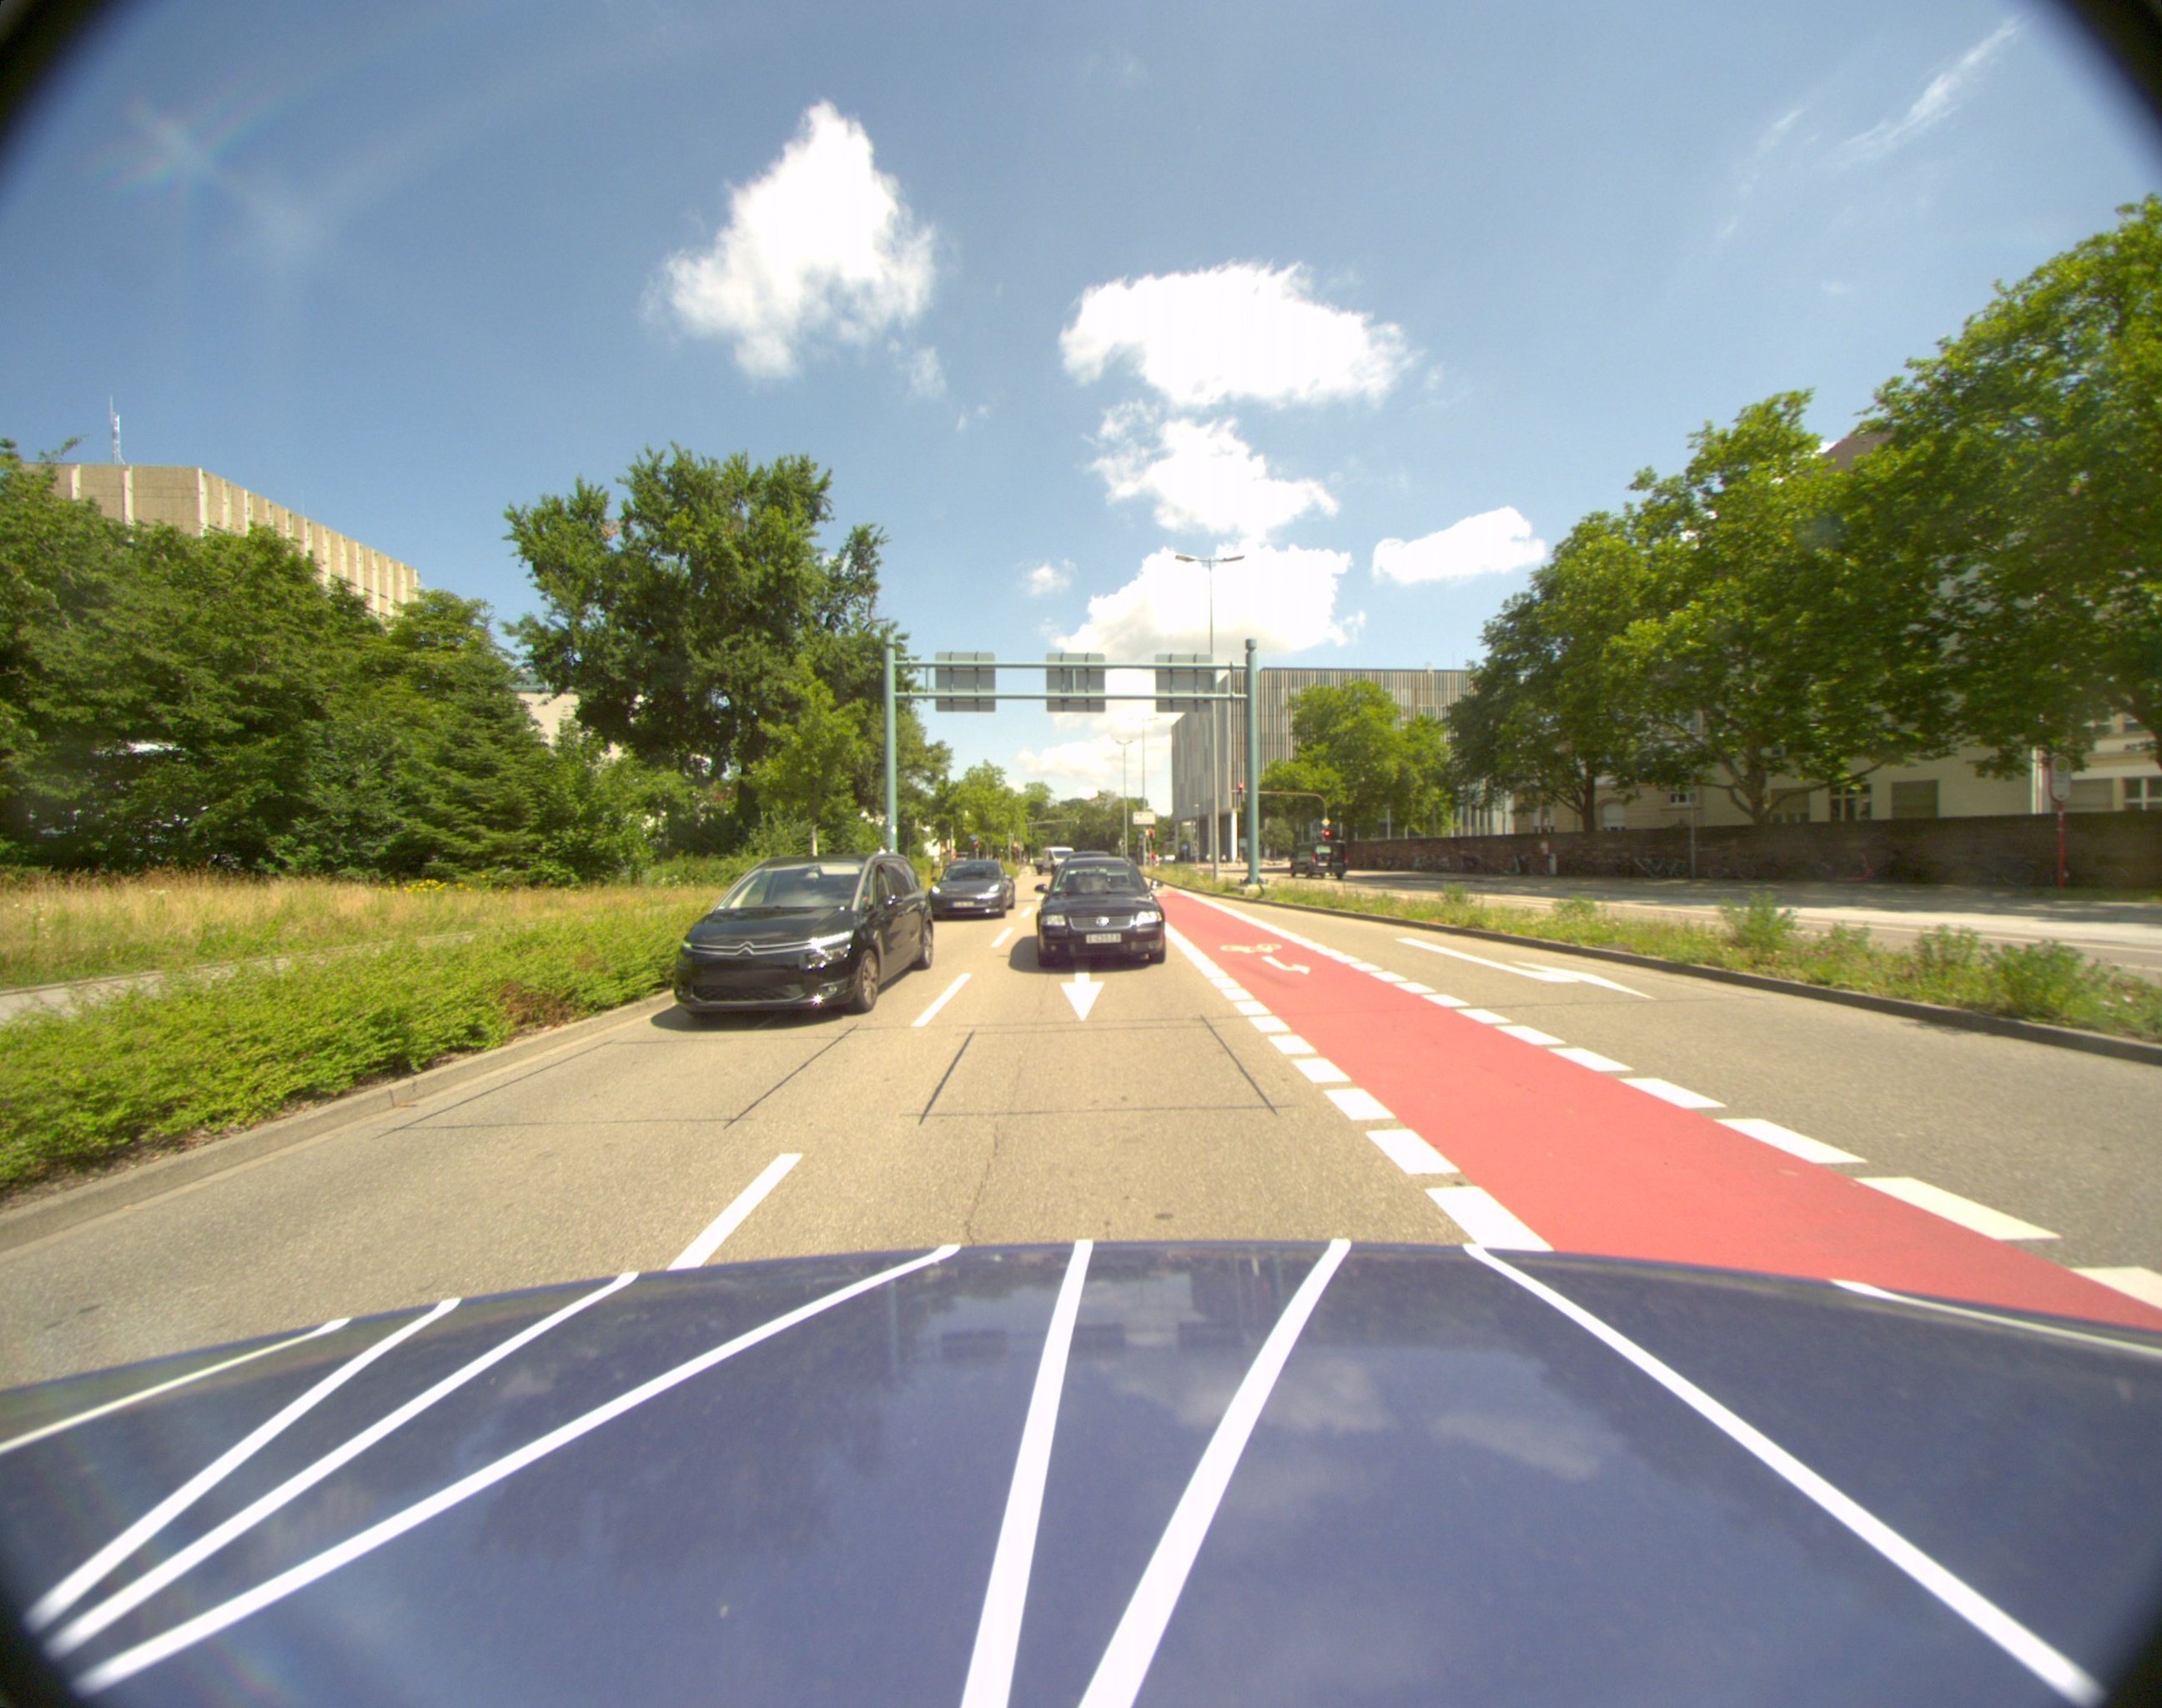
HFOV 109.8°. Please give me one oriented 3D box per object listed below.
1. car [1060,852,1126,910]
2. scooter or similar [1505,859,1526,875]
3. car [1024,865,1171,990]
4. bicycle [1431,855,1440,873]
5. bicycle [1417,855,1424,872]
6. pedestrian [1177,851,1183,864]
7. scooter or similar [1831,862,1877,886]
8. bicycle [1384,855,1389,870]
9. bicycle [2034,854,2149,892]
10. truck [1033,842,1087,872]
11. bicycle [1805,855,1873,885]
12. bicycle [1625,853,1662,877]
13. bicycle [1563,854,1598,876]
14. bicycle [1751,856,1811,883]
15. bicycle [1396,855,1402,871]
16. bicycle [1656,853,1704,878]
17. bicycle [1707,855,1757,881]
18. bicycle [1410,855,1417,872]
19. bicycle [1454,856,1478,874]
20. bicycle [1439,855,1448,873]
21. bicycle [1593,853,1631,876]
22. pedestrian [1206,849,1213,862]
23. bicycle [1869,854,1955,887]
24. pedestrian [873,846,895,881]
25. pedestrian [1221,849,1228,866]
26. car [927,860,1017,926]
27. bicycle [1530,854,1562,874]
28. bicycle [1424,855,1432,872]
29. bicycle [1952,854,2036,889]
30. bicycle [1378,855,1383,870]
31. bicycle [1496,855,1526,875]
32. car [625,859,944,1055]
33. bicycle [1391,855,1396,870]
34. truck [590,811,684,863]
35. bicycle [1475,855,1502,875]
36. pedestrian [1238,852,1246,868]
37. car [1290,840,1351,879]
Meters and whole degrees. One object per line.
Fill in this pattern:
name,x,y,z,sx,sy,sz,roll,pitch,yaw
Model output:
car,0.354,0.742,22.966,1.751,1.495,4.520,-3,0,1
scooter or similar,23.338,0.706,40.821,0.353,0.838,1.068,-1,1,-13
car,0.223,0.904,11.303,1.751,1.426,4.520,0,0,1
bicycle,22.531,0.621,48.258,0.382,1.101,1.673,0,1,21
bicycle,22.304,0.607,49.932,0.382,1.101,1.673,0,1,21
pedestrian,15.499,0.566,118.745,0.715,1.906,0.807,-2,1,-6
scooter or similar,26.792,0.675,26.337,0.353,0.789,1.067,-1,1,-25
bicycle,21.725,0.608,54.087,0.329,1.012,1.673,0,1,21
bicycle,28.971,0.523,21.828,0.398,1.037,1.954,-1,0,-20
truck,-1.808,0.290,61.961,2.466,2.287,5.805,-3,0,-22
bicycle,27.188,0.541,27.275,0.398,1.037,1.759,-1,0,-16
bicycle,25.386,0.485,34.313,0.378,1.037,1.415,-1,1,-14
bicycle,24.657,0.526,37.529,0.383,1.037,1.668,-1,0,-12
bicycle,26.721,0.574,29.036,0.398,0.998,1.759,-1,0,-14
bicycle,21.980,0.614,52.448,0.329,1.012,1.673,0,1,21
bicycle,25.765,0.486,32.703,0.398,1.037,1.759,-1,0,-14
bicycle,26.289,0.543,30.717,0.398,1.037,1.581,-1,0,-14
bicycle,22.040,0.610,50.368,0.382,1.101,1.673,0,1,21
bicycle,23.161,0.649,45.728,0.383,1.101,1.669,-1,0,-9
bicycle,22.675,0.628,47.503,0.382,1.101,1.673,0,1,21
bicycle,25.019,0.480,35.839,0.383,1.037,1.668,-1,0,-12
pedestrian,18.948,0.218,112.023,0.826,1.906,0.807,-2,1,-6
bicycle,27.733,0.534,25.401,0.398,1.037,1.955,-1,0,-17
pedestrian,-10.123,0.485,38.975,0.844,1.755,0.841,-2,1,0
pedestrian,17.095,0.410,90.543,0.632,1.907,0.718,-2,1,-3
car,-2.711,0.917,19.792,1.766,1.409,4.362,-3,0,-2
bicycle,24.120,0.513,39.460,0.383,1.037,1.668,-1,0,-12
bicycle,22.420,0.615,49.118,0.382,1.101,1.673,0,1,21
bicycle,28.344,0.515,23.624,0.398,1.037,1.637,-1,1,-20
bicycle,21.585,0.600,54.816,0.329,1.012,1.673,0,1,21
bicycle,23.781,0.596,42.048,0.383,1.101,1.668,-1,0,-12
car,-3.012,0.923,8.932,1.863,1.613,4.520,-3,0,1
bicycle,21.867,0.606,53.160,0.329,1.012,1.673,0,1,21
truck,-27.827,-1.041,48.003,2.098,3.005,7.121,-2,1,-4
bicycle,23.447,0.626,43.717,0.383,1.101,1.668,-1,0,-11
pedestrian,19.003,0.719,89.576,0.715,1.906,0.807,-2,1,-6
car,14.137,0.325,45.064,2.214,2.158,4.520,1,0,1
